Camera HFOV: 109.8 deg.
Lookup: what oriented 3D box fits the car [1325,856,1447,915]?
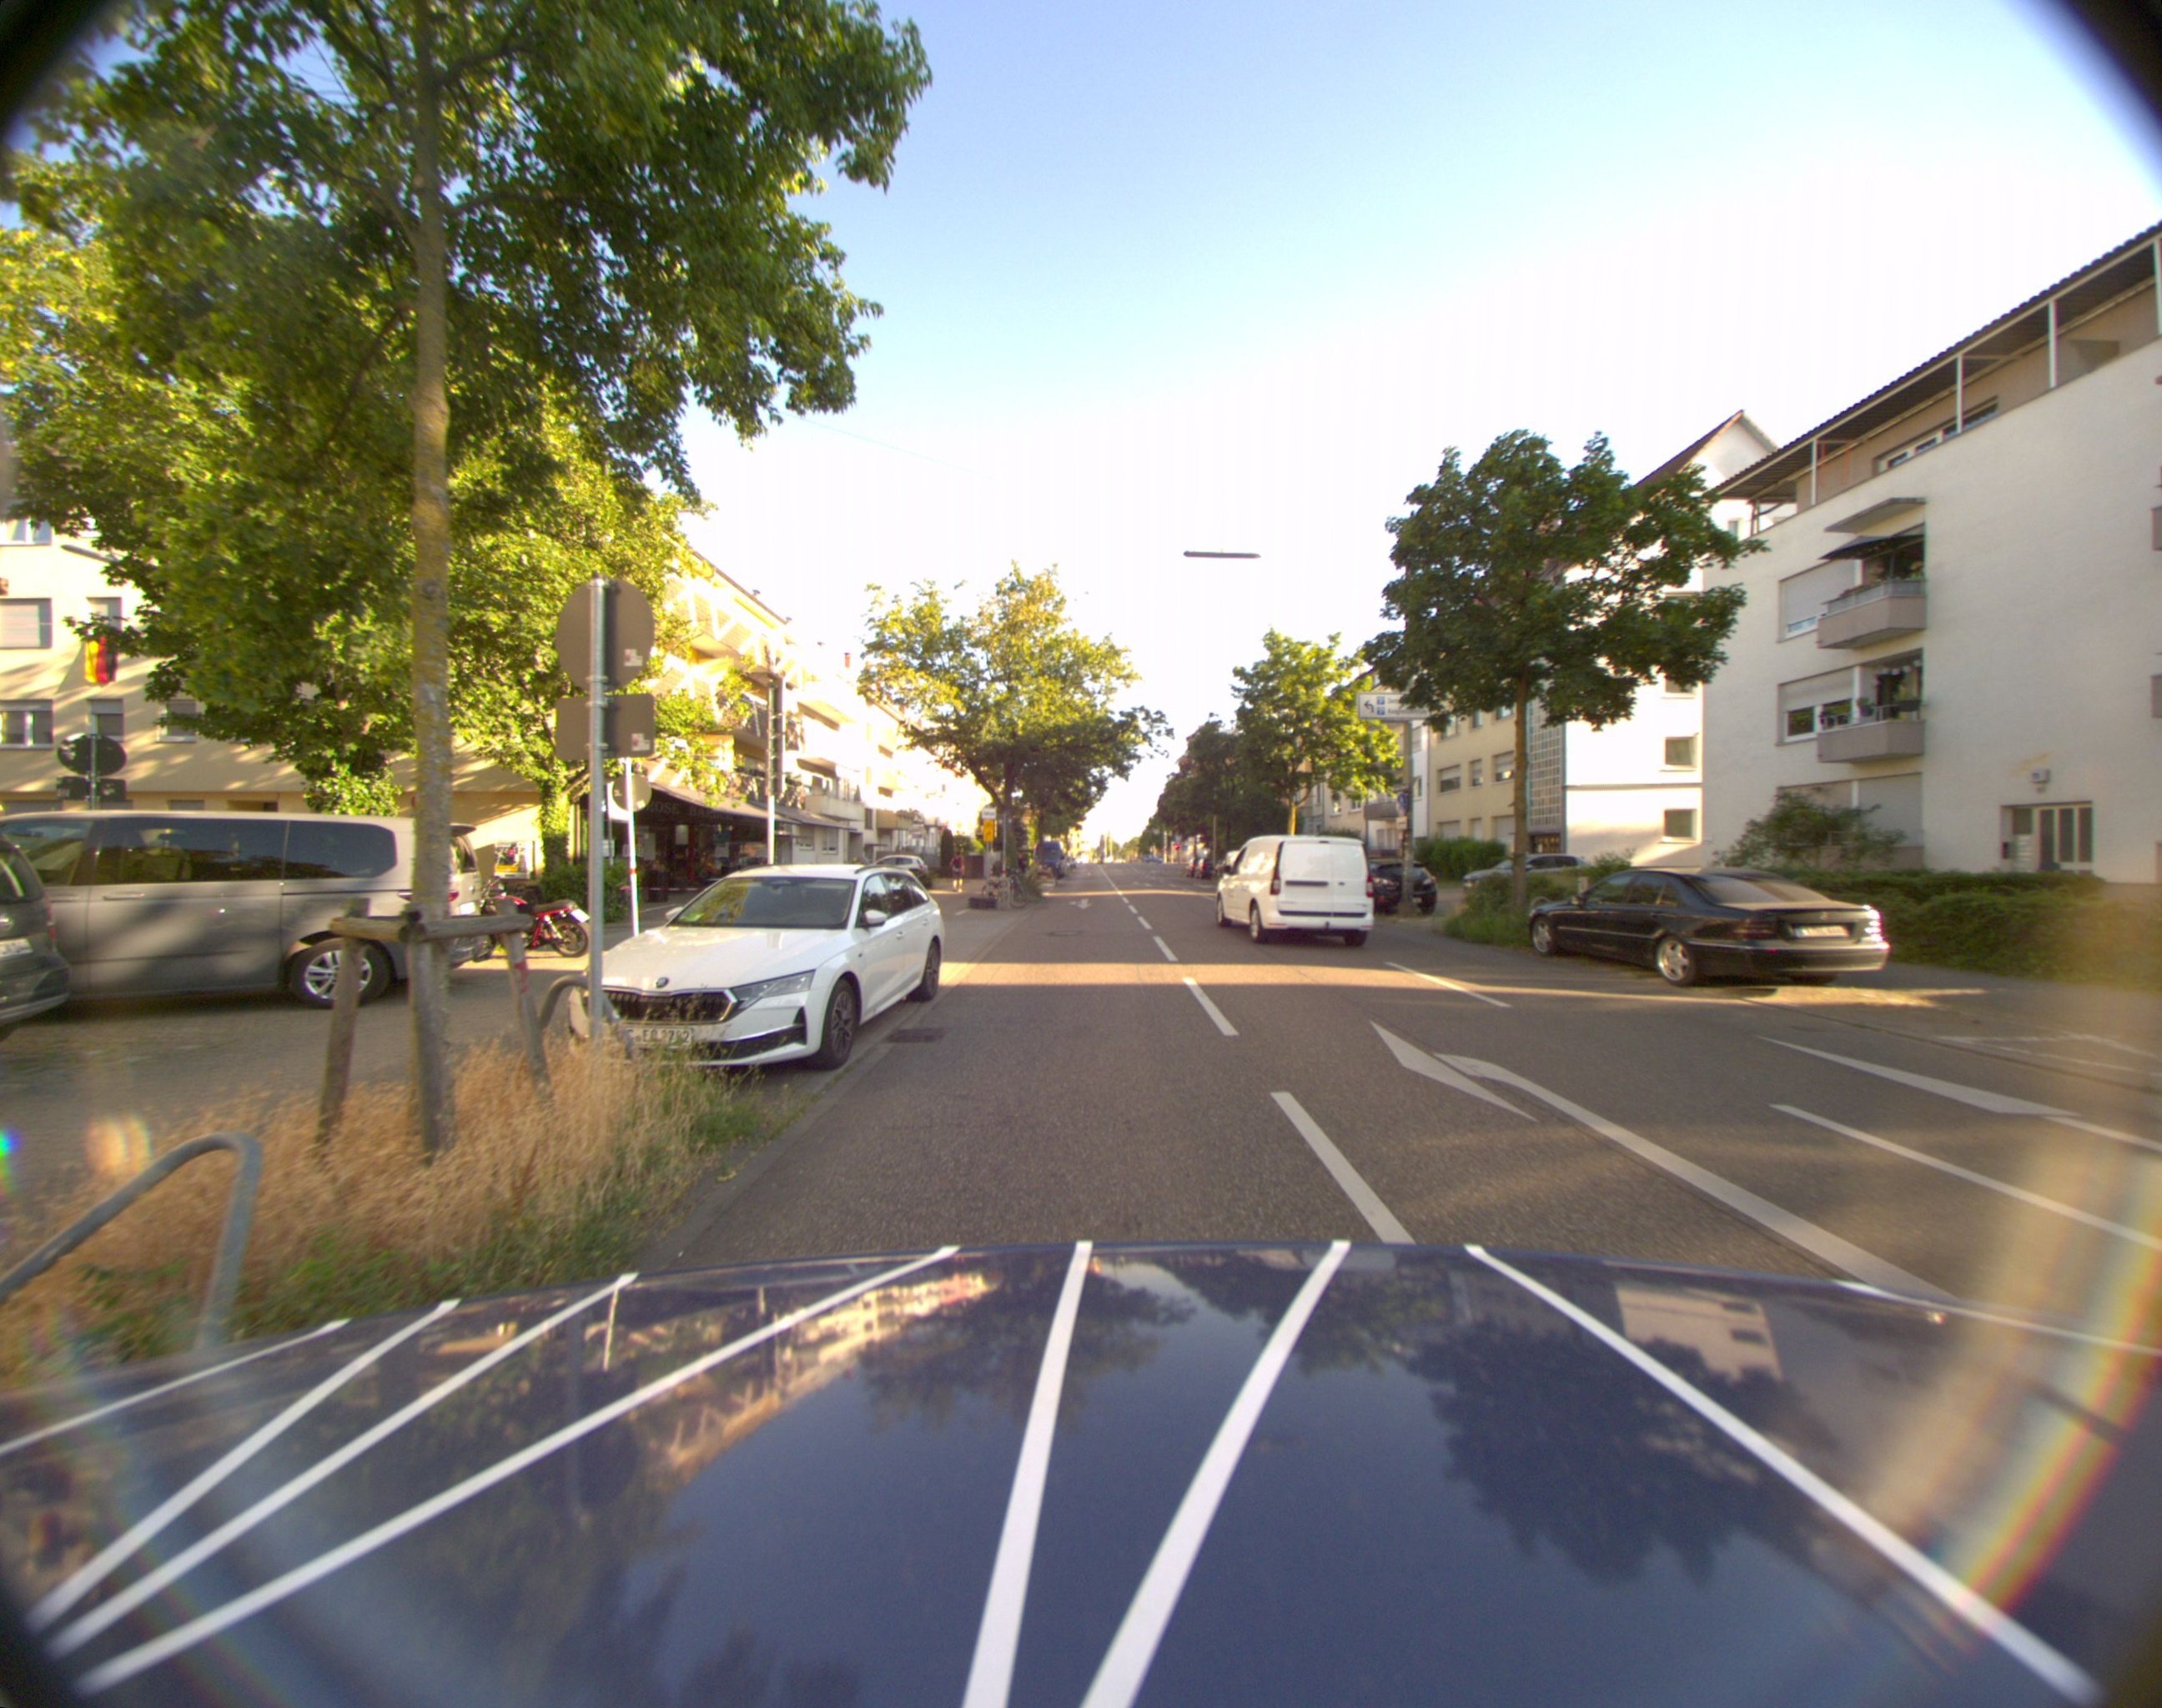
[{"bbox_3d":[8.316,0.793,21.125,1.862,1.477,4.000,0,0,1],"label":"car"}]

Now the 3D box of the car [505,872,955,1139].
[{"bbox_3d":[-2.483,0.964,6.852,1.825,1.469,4.621,0,0,1],"label":"car"}]

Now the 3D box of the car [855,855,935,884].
[{"bbox_3d":[-9.792,0.796,40.116,3.878,1.496,1.575,0,1,-4],"label":"car"}]

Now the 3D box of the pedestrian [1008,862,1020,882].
[{"bbox_3d":[-3.653,0.980,41.581,0.553,1.053,0.532,0,1,2],"label":"pedestrian"}]

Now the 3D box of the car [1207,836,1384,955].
[{"bbox_3d":[3.677,0.626,13.923,1.893,1.793,4.430,1,0,-1],"label":"car"}]

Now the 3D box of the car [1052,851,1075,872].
[{"bbox_3d":[-1.476,0.618,64.027,1.704,1.740,4.000,0,0,2],"label":"car"}]

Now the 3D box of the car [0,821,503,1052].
[{"bbox_3d":[-8.813,0.669,7.265,4.946,1.888,1.916,-1,1,-28],"label":"car"}]

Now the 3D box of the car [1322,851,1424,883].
[{"bbox_3d":[14.868,0.621,38.714,4.563,1.397,1.739,-2,1,-9],"label":"car"}]

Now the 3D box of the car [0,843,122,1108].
[{"bbox_3d":[-8.868,0.762,4.158,4.106,1.690,1.783,0,1,-29],"label":"car"}]

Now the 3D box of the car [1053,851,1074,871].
[{"bbox_3d":[-1.549,0.591,68.977,1.704,1.739,4.000,0,0,2],"label":"car"}]

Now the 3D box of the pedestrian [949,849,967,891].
[{"bbox_3d":[-5.203,0.669,32.162,0.619,1.761,0.562,0,0,2],"label":"pedestrian"}]

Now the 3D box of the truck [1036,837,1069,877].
[{"bbox_3d":[-1.925,0.198,53.207,1.998,2.629,5.616,0,0,1],"label":"truck"}]

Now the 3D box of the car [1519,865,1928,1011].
[{"bbox_3d":[7.859,0.893,9.999,1.641,1.399,4.444,0,0,0],"label":"car"}]

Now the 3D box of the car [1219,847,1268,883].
[{"bbox_3d":[8.607,0.543,40.479,1.740,1.799,4.191,0,0,1],"label":"car"}]

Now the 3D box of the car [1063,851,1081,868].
[{"bbox_3d":[-0.908,0.538,79.596,1.704,1.740,4.000,0,0,2],"label":"car"}]

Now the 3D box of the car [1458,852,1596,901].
[{"bbox_3d":[14.313,0.706,24.537,3.467,1.515,1.686,0,0,2],"label":"car"}]

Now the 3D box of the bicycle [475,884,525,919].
[{"bbox_3d":[-13.589,1.103,17.784,0.428,0.739,0.913,0,1,2],"label":"bicycle"}]

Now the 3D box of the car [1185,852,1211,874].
[{"bbox_3d":[8.561,0.652,55.773,1.407,1.456,3.682,-2,1,2],"label":"car"}]

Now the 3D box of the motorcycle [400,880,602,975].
[{"bbox_3d":[-8.221,1.024,10.875,2.163,1.232,0.789,0,1,-9],"label":"motorcycle"}]

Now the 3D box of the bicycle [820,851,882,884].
[{"bbox_3d":[-10.278,0.611,33.980,2.459,1.433,0.928,0,1,-1],"label":"bicycle"}]

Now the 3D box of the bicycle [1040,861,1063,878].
[{"bbox_3d":[-1.905,1.012,49.665,1.469,1.058,0.445,0,1,1],"label":"bicycle"}]

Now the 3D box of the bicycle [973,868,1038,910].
[{"bbox_3d":[-2.293,1.047,23.012,1.894,1.155,0.616,2,1,28],"label":"bicycle"}]

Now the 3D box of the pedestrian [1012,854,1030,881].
[{"bbox_3d":[-3.176,0.702,40.285,0.917,1.436,0.811,0,1,-1],"label":"pedestrian"}]

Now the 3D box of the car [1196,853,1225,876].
[{"bbox_3d":[8.750,0.658,51.375,1.407,1.397,3.682,-2,1,2],"label":"car"}]

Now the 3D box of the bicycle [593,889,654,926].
[{"bbox_3d":[-10.928,1.258,18.188,0.486,0.763,1.531,0,0,2],"label":"bicycle"}]
